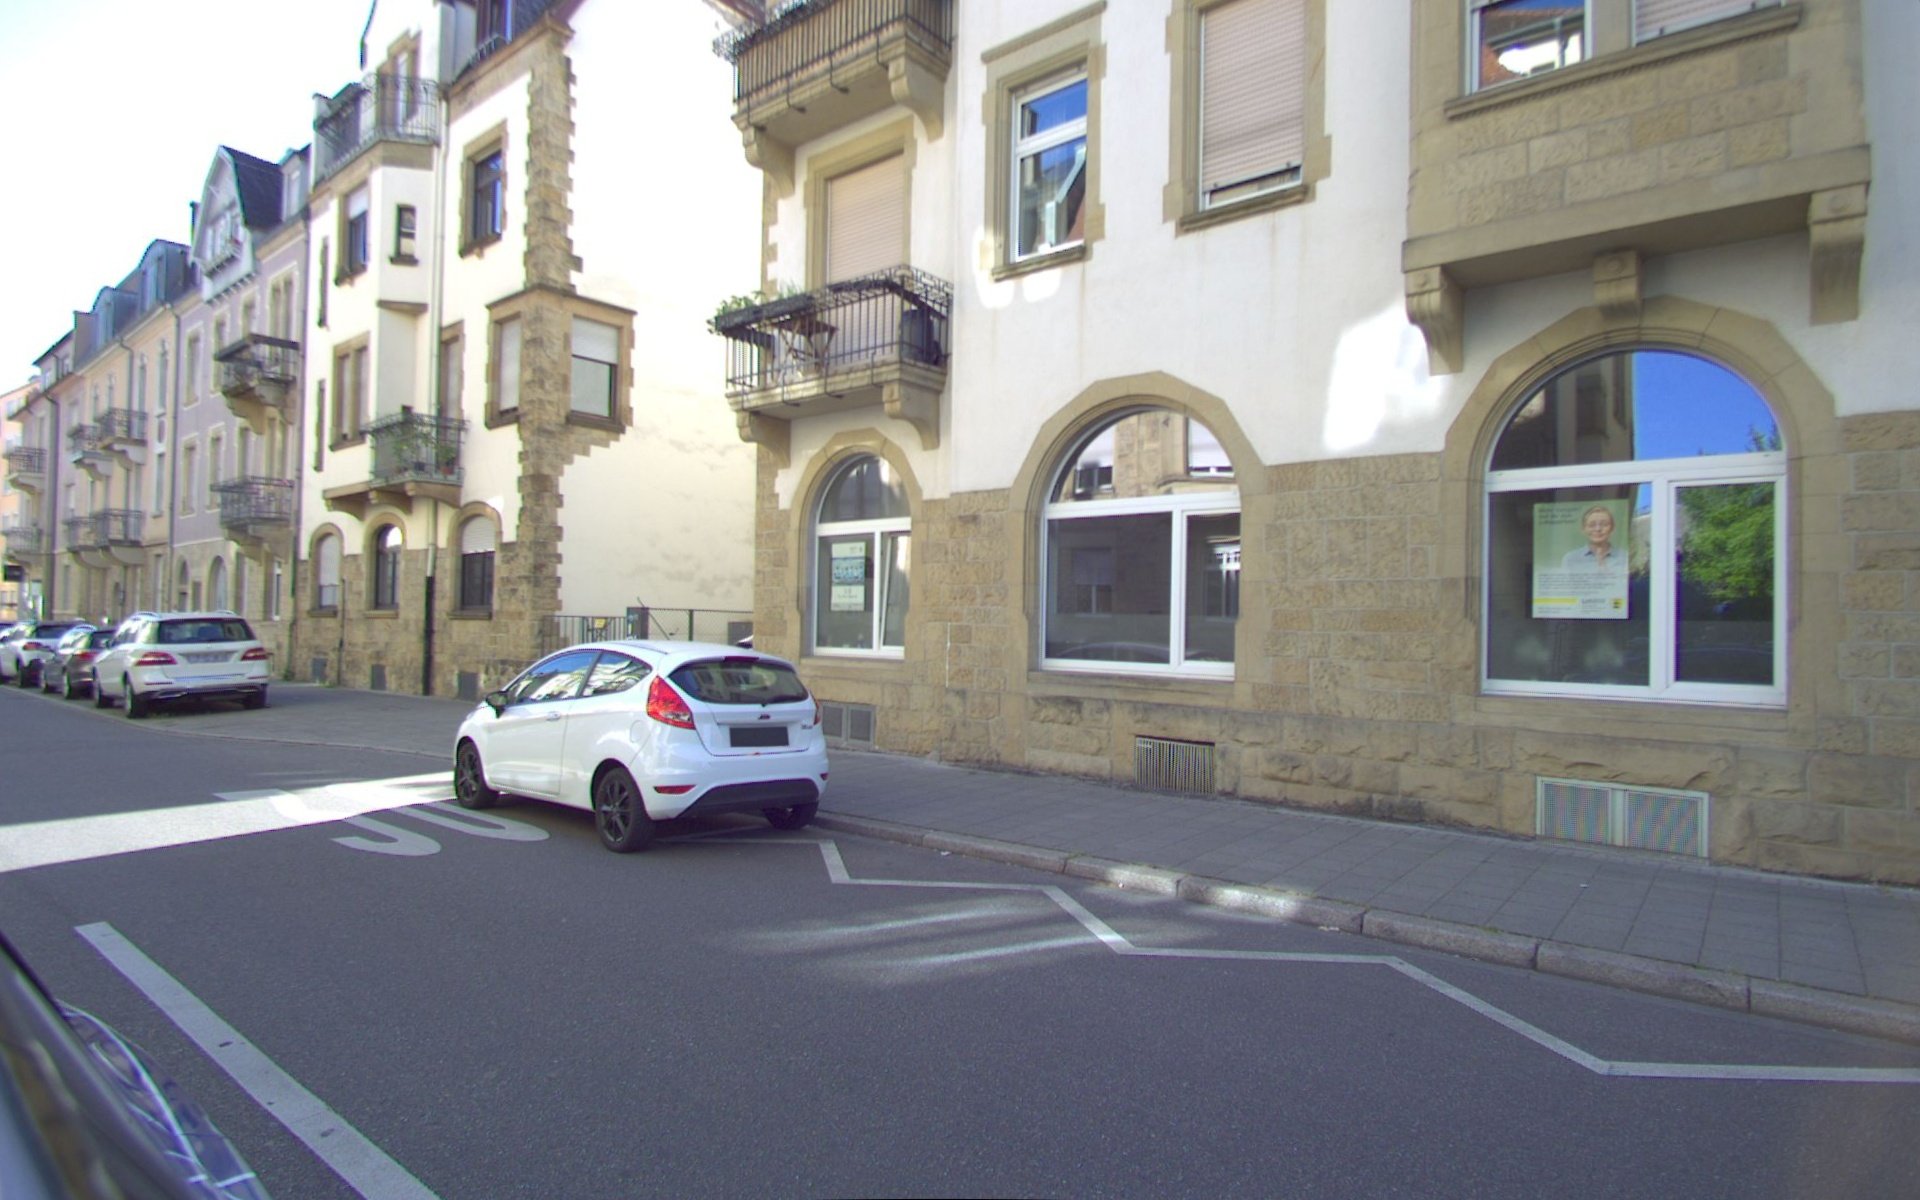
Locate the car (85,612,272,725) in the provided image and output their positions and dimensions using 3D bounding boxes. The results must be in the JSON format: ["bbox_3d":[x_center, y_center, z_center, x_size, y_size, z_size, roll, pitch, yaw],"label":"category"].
[{"bbox_3d":[-13.973,1.107,18.011,4.209,1.740,1.866,-1,0,41],"label":"car"}]

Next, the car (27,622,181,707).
[{"bbox_3d":[-18.448,1.299,21.750,4.319,1.519,1.866,-1,2,41],"label":"car"}]

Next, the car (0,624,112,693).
[{"bbox_3d":[-22.952,1.392,25.432,4.319,1.520,1.866,-1,0,41],"label":"car"}]

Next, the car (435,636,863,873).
[{"bbox_3d":[-2.629,1.052,8.166,3.642,1.469,1.634,-2,-5,42],"label":"car"}]

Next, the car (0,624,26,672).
[{"bbox_3d":[-33.144,1.617,34.219,4.319,1.520,1.866,-1,0,41],"label":"car"}]

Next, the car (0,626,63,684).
[{"bbox_3d":[-27.160,1.526,28.871,4.317,1.511,1.833,-1,0,41],"label":"car"}]
